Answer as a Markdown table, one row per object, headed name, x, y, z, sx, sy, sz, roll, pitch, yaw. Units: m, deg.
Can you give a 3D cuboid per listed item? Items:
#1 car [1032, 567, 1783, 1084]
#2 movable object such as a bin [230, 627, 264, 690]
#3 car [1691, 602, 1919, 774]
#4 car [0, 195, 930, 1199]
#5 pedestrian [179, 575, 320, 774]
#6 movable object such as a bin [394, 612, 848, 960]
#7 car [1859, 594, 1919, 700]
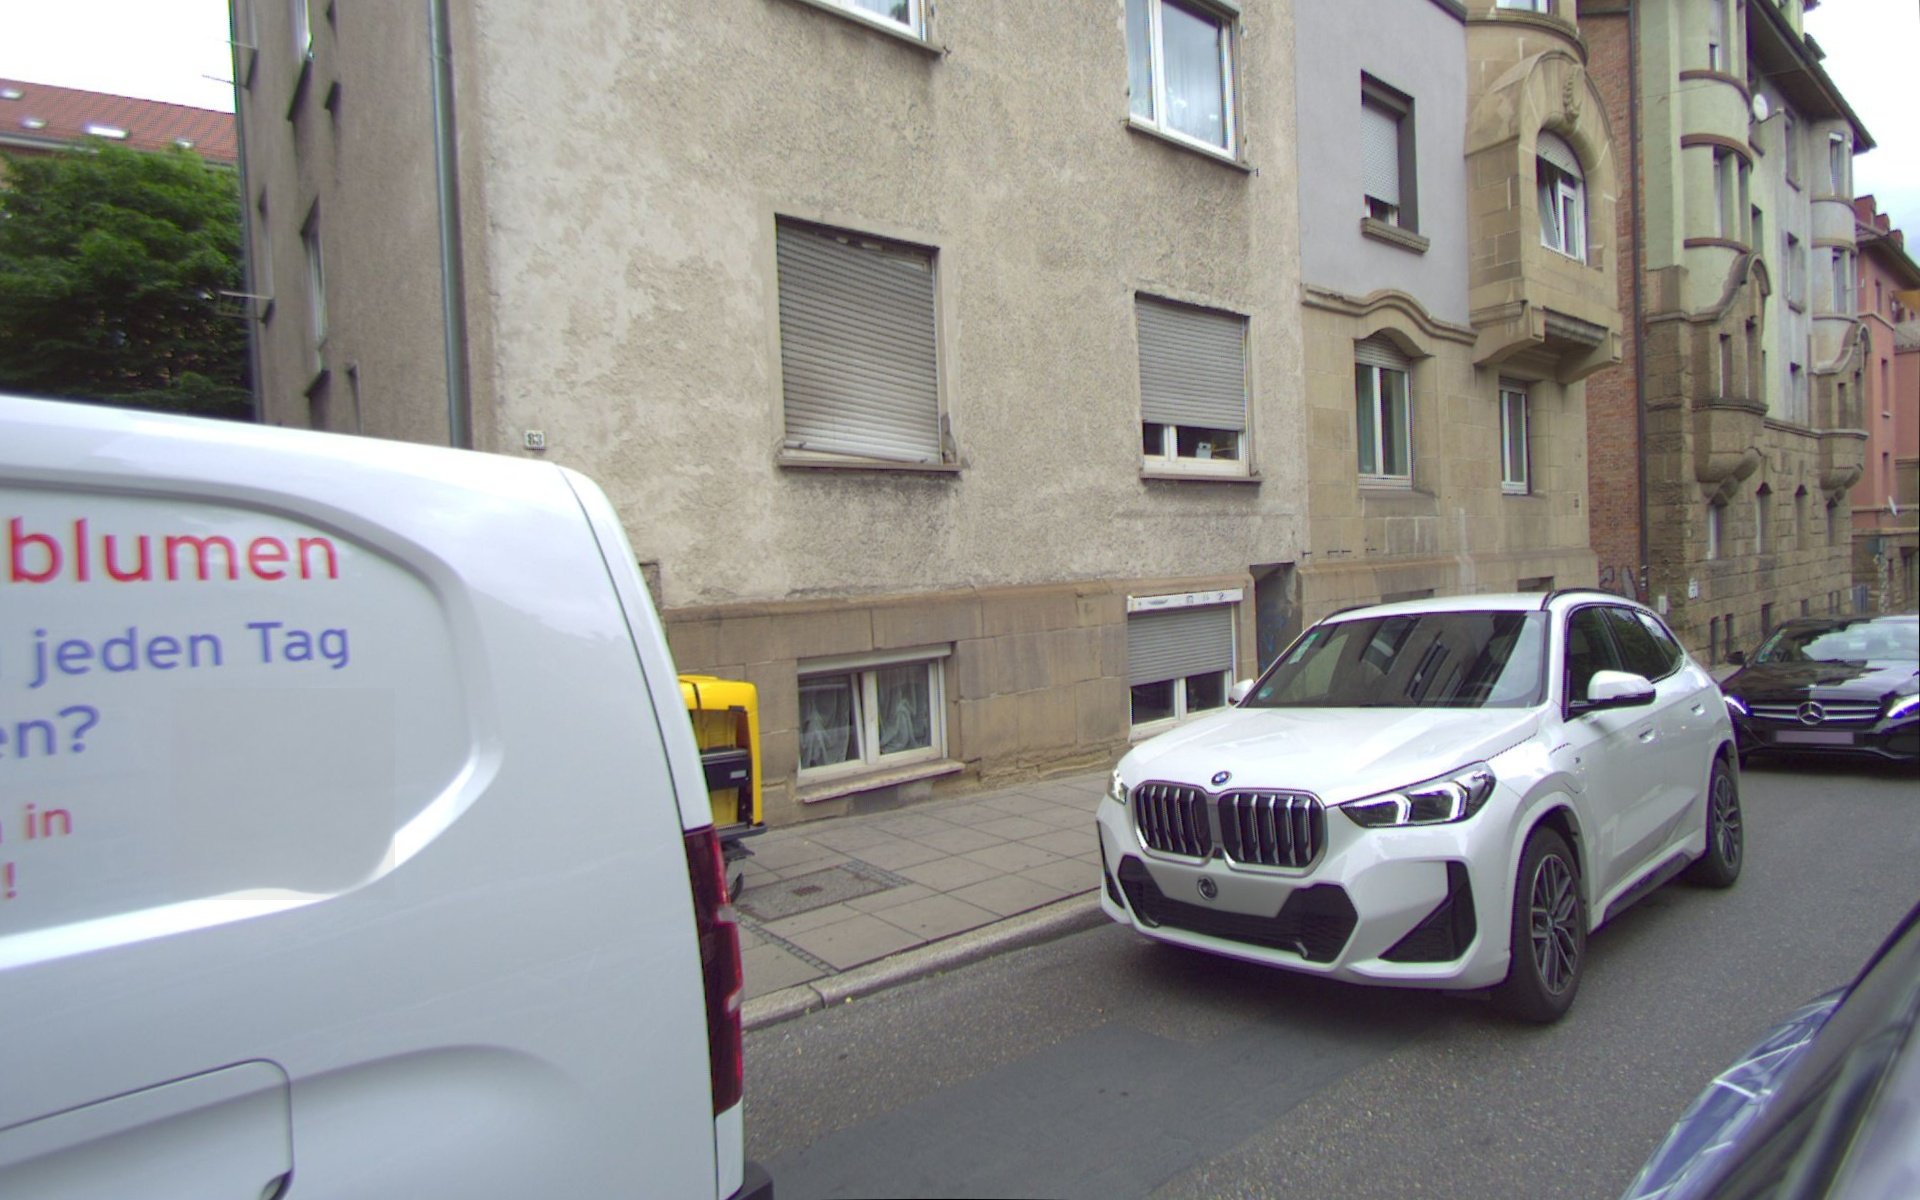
| name | x | y | z | sx | sy | sz | roll | pitch | yaw |
| --- | --- | --- | --- | --- | --- | --- | --- | --- | --- |
| car | 2.565 | 0.725 | 5.238 | 4.276 | 1.576 | 1.857 | -1 | -4 | -42 |
| movable object such as a bin | -10.977 | 0.894 | 15.577 | 0.405 | 0.923 | 0.340 | 0 | 0 | -40 |
| car | 9.098 | 0.755 | 10.165 | 4.133 | 1.395 | 1.882 | -1 | -3 | -41 |
| car | -2.412 | 0.590 | 0.800 | 4.597 | 1.798 | 1.977 | -1 | -3 | -42 |
| pedestrian | -6.523 | 0.640 | 9.298 | 0.808 | 1.666 | 0.773 | 0 | 6 | 42 |
| movable object such as a bin | -1.760 | 0.798 | 5.393 | 1.979 | 1.391 | 1.223 | -1 | 2 | -43 |
| car | 15.721 | 0.633 | 15.714 | 4.226 | 1.534 | 1.935 | -1 | -3 | -40 |
